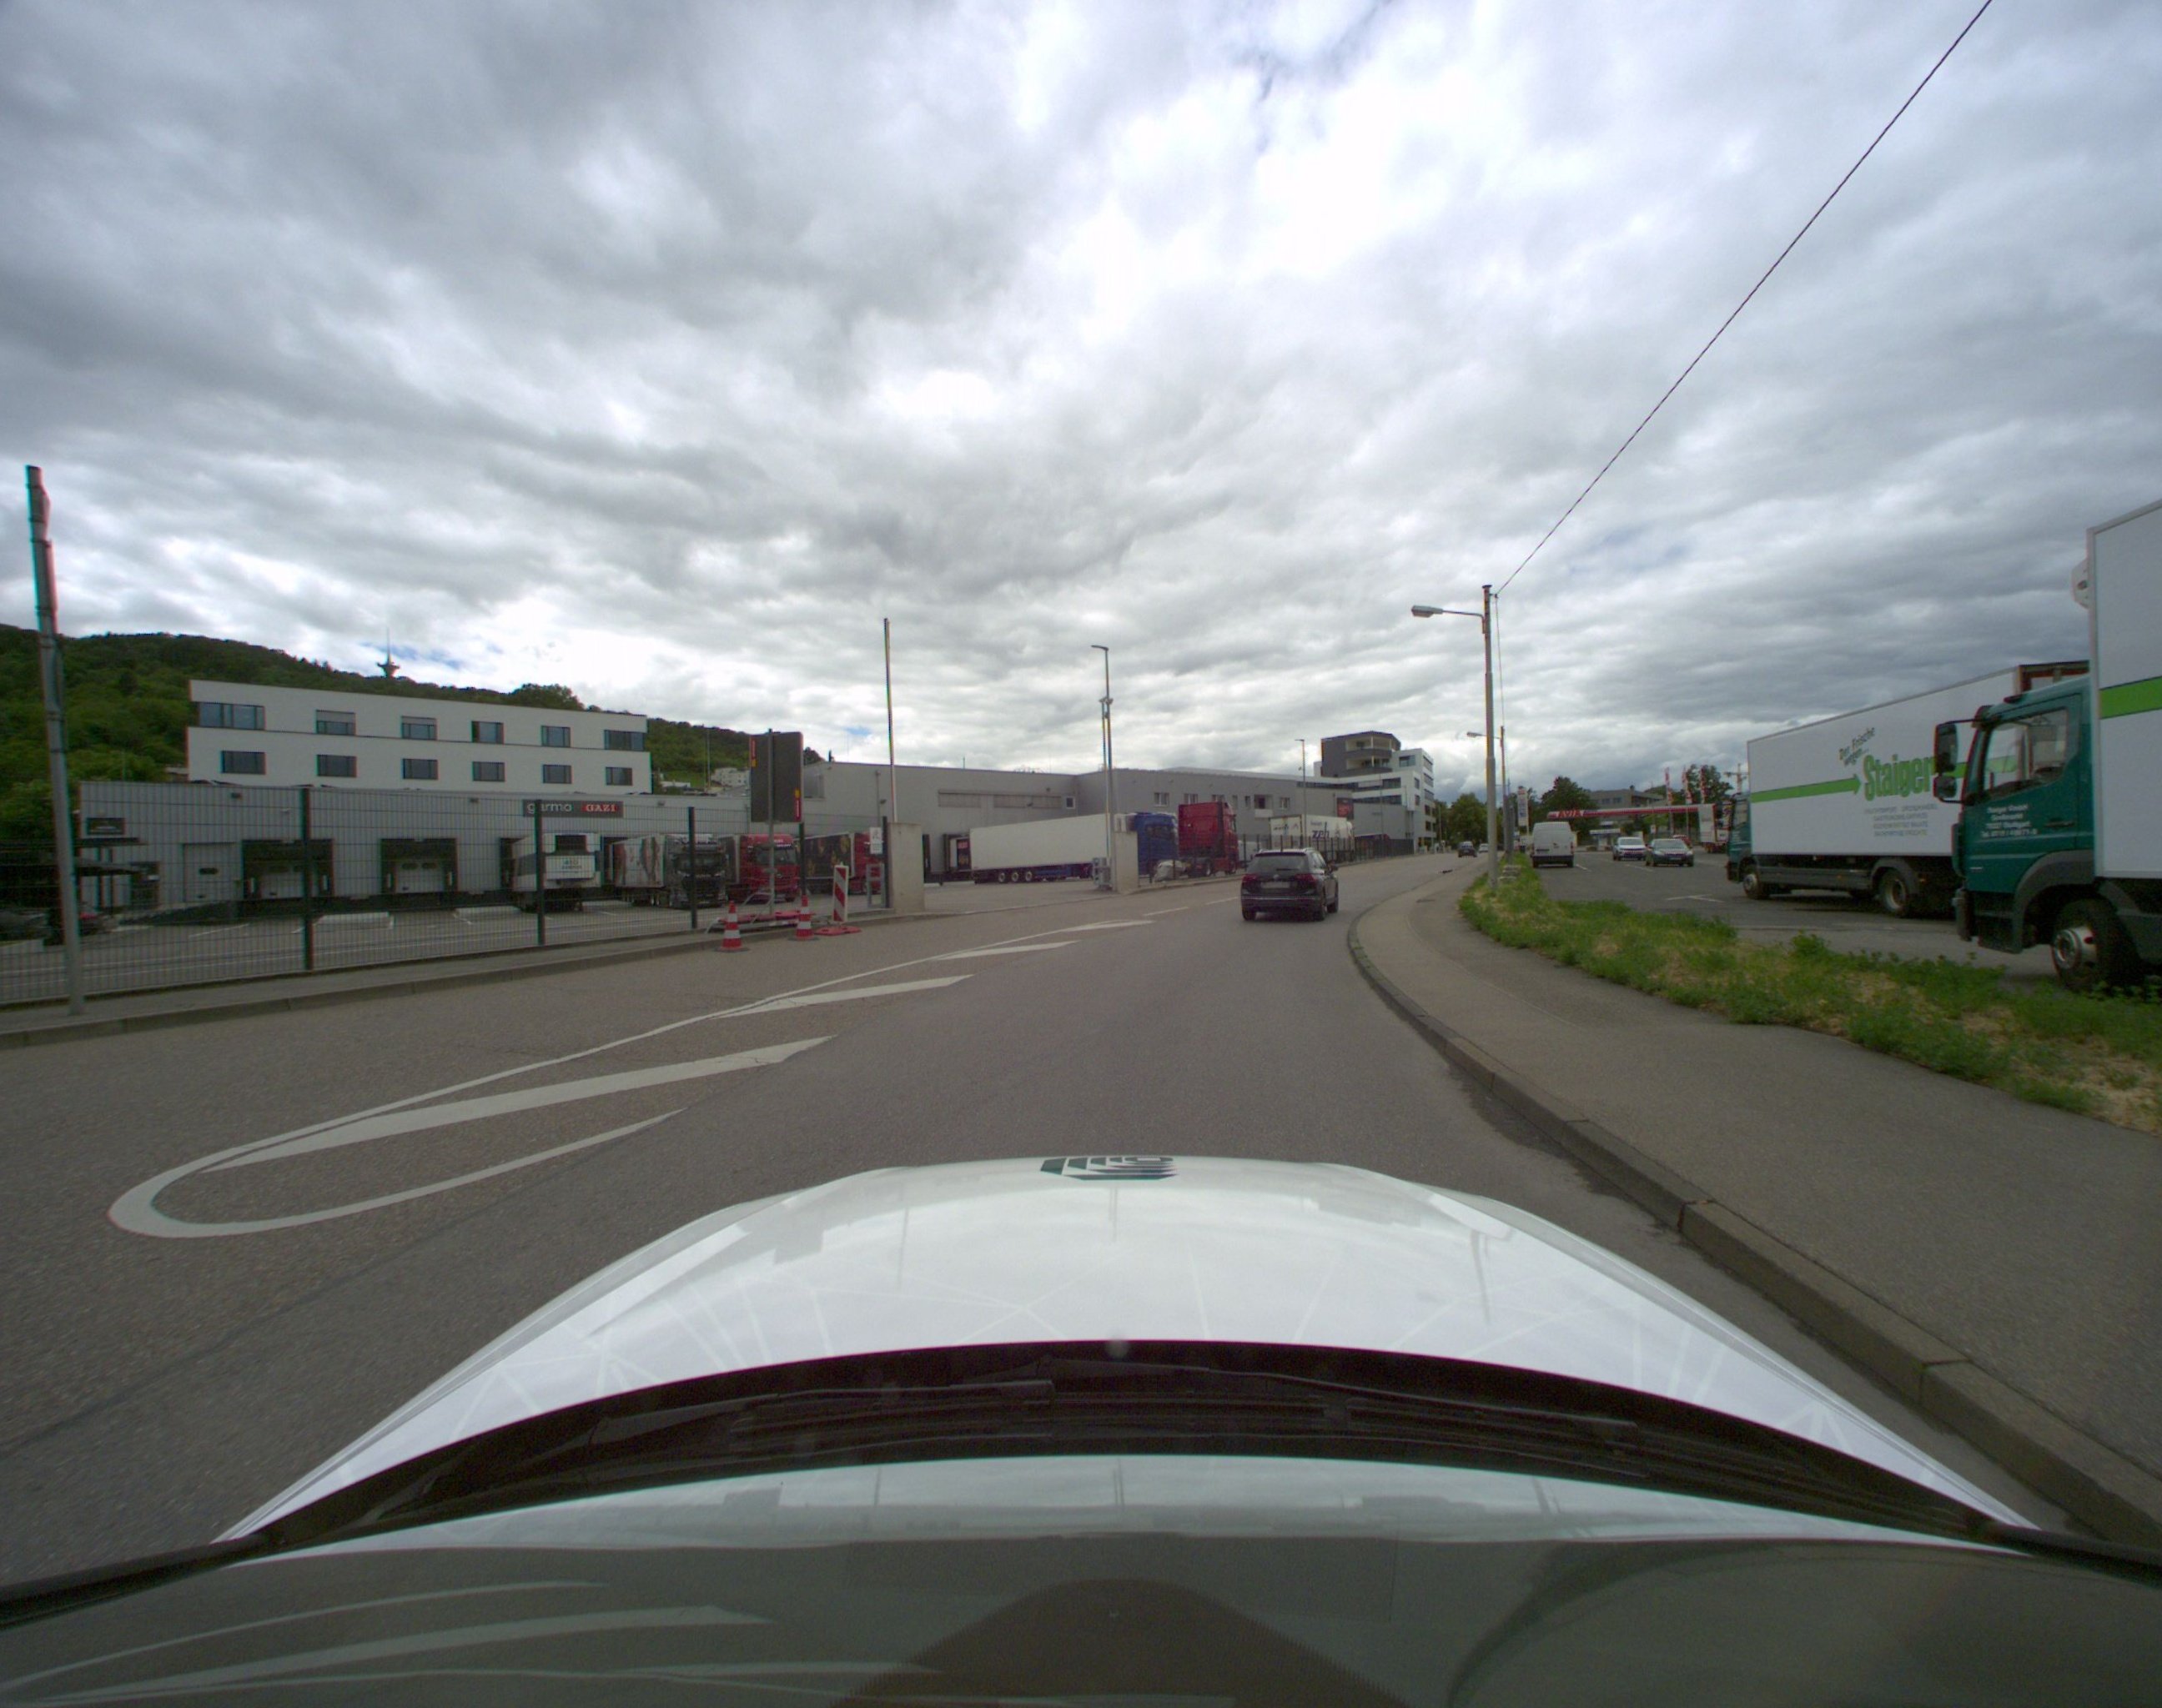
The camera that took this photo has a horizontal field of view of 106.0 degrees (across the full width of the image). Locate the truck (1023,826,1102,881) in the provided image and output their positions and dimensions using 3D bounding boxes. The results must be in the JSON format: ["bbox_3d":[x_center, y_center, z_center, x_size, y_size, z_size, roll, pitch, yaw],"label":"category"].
[{"bbox_3d":[-1.451,0.011,61.321,2.817,3.928,5.856,-2,-1,-40],"label":"truck"}]

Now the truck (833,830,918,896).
[{"bbox_3d":[-12.984,0.605,51.221,2.817,3.928,5.854,-1,-1,-41],"label":"truck"}]

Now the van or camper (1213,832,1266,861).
[{"bbox_3d":[15.939,-0.718,82.129,2.116,2.762,4.927,-1,-1,-42],"label":"van or camper"}]

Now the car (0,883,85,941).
[{"bbox_3d":[-31.341,1.695,22.767,1.942,1.559,4.273,-3,-1,43],"label":"car"}]

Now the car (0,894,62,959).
[{"bbox_3d":[-29.763,1.958,20.952,1.942,1.648,4.273,-3,-1,43],"label":"car"}]

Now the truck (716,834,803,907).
[{"bbox_3d":[-18.493,0.959,46.672,2.817,3.928,5.854,-1,-1,-41],"label":"truck"}]

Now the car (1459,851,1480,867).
[{"bbox_3d":[44.598,0.555,93.444,1.975,1.750,4.025,-2,0,28],"label":"car"}]

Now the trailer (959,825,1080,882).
[{"bbox_3d":[-5.291,0.102,66.027,2.798,4.108,12.939,-2,-1,-39],"label":"trailer"}]

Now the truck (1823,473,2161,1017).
[{"bbox_3d":[8.505,-0.763,4.319,3.040,3.631,8.639,-2,-1,15],"label":"truck"}]

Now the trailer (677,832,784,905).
[{"bbox_3d":[-22.020,0.978,50.661,2.807,4.078,10.864,-1,-1,-41],"label":"trailer"}]

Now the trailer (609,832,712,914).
[{"bbox_3d":[-25.051,1.166,48.105,2.807,4.301,11.047,-1,-1,-41],"label":"trailer"}]

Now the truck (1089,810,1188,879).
[{"bbox_3d":[3.597,-0.546,50.564,5.556,4.020,2.943,-2,-1,14],"label":"truck"}]

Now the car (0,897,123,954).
[{"bbox_3d":[-33.029,2.237,25.211,1.942,1.559,4.273,-3,-1,43],"label":"car"}]

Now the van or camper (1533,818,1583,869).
[{"bbox_3d":[26.947,-0.576,46.090,2.234,2.647,6.152,-2,-1,30],"label":"van or camper"}]

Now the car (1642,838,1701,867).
[{"bbox_3d":[31.418,-0.080,43.443,1.872,1.445,4.455,0,0,27],"label":"car"}]

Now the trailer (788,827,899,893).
[{"bbox_3d":[-16.281,0.509,55.066,2.807,4.078,10.864,-1,-1,-41],"label":"trailer"}]

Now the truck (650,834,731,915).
[{"bbox_3d":[-20.714,1.072,43.113,2.817,4.040,4.115,-1,-1,-41],"label":"truck"}]

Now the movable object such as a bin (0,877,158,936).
[{"bbox_3d":[-42.619,2.167,34.470,2.054,2.226,4.628,-3,-1,43],"label":"movable object such as a bin"}]

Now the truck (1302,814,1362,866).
[{"bbox_3d":[22.749,-1.217,73.537,3.097,4.117,6.985,-7,-3,32],"label":"truck"}]

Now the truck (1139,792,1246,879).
[{"bbox_3d":[5.870,-0.879,41.662,2.894,4.020,6.985,-2,-1,30],"label":"truck"}]

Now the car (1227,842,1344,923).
[{"bbox_3d":[5.020,0.610,19.547,1.976,1.684,4.395,-3,-1,23],"label":"car"}]

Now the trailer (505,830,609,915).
[{"bbox_3d":[-28.705,1.029,44.306,3.108,4.078,11.273,-1,-1,-41],"label":"trailer"}]

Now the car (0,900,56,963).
[{"bbox_3d":[-28.226,1.987,19.591,1.942,1.492,4.273,-3,-1,43],"label":"car"}]

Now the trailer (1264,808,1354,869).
[{"bbox_3d":[19.326,-1.204,67.909,3.102,4.261,14.108,-7,-3,31],"label":"trailer"}]

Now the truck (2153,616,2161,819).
[{"bbox_3d":[12.372,-0.889,4.552,3.040,3.631,8.640,-2,-1,15],"label":"truck"}]

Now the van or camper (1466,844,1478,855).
[{"bbox_3d":[86.145,-1.059,179.325,1.974,2.256,4.025,-2,-1,29],"label":"van or camper"}]

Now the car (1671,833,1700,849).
[{"bbox_3d":[69.983,-1.497,94.285,1.975,1.706,4.024,-2,-1,27],"label":"car"}]

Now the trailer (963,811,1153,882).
[{"bbox_3d":[-1.893,-0.316,54.604,13.837,4.184,3.056,-2,-1,38],"label":"trailer"}]

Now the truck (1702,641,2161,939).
[{"bbox_3d":[15.664,-0.891,15.430,2.955,3.830,10.484,-1,1,18],"label":"truck"}]

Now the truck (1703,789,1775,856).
[{"bbox_3d":[54.562,-2.493,67.795,3.275,5.093,8.567,-2,-1,31],"label":"truck"}]

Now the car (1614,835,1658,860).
[{"bbox_3d":[37.698,-0.436,55.411,1.872,1.612,4.455,-2,-1,27],"label":"car"}]
